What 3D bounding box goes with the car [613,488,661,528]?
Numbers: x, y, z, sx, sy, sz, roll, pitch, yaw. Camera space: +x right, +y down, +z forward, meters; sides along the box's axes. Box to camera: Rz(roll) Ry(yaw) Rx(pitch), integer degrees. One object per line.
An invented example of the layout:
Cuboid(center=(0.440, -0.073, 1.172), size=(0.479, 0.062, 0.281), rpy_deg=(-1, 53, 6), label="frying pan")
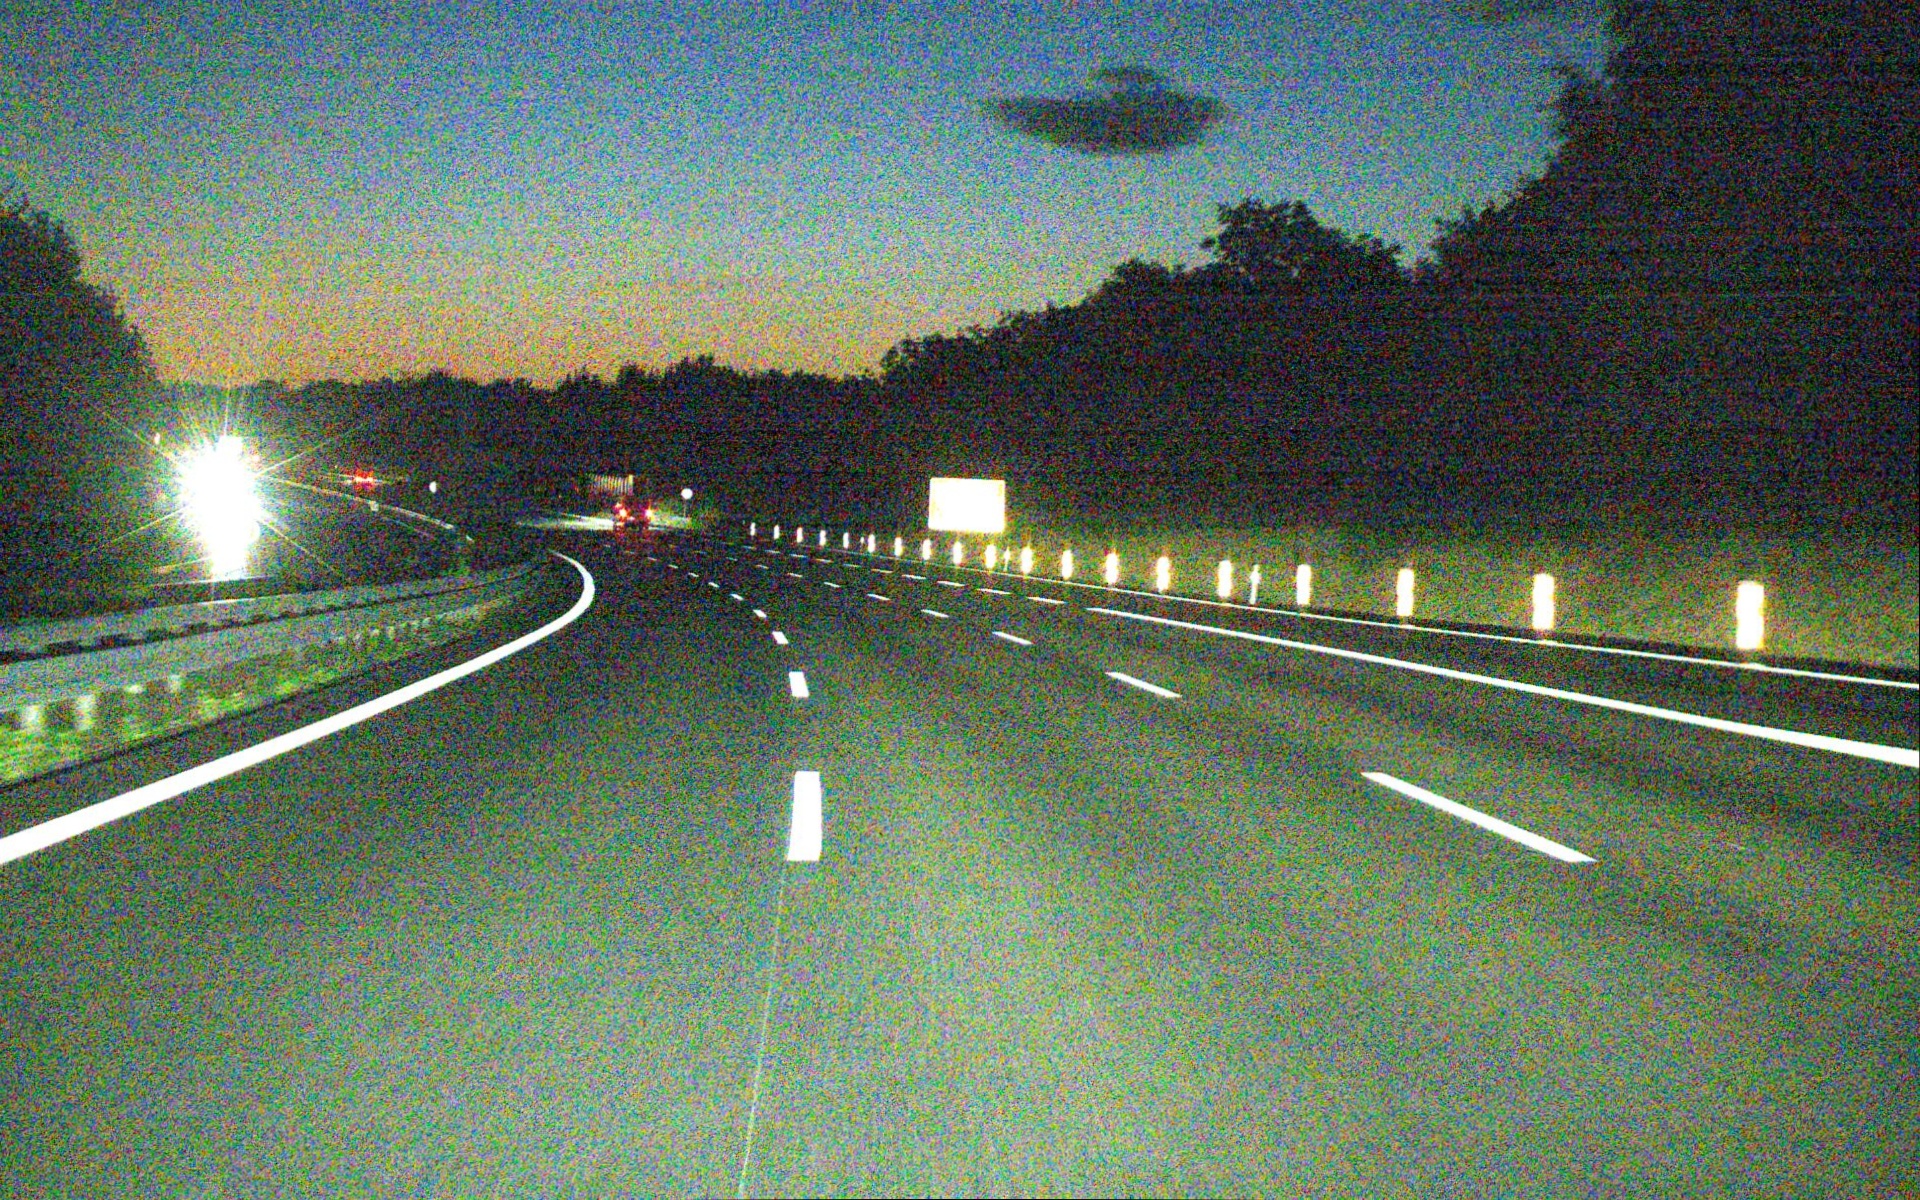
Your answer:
Cuboid(center=(-22.674, -6.468, 241.253), size=(2.527, 2.544, 6.054), rpy_deg=(2, 2, -13), label="car")
